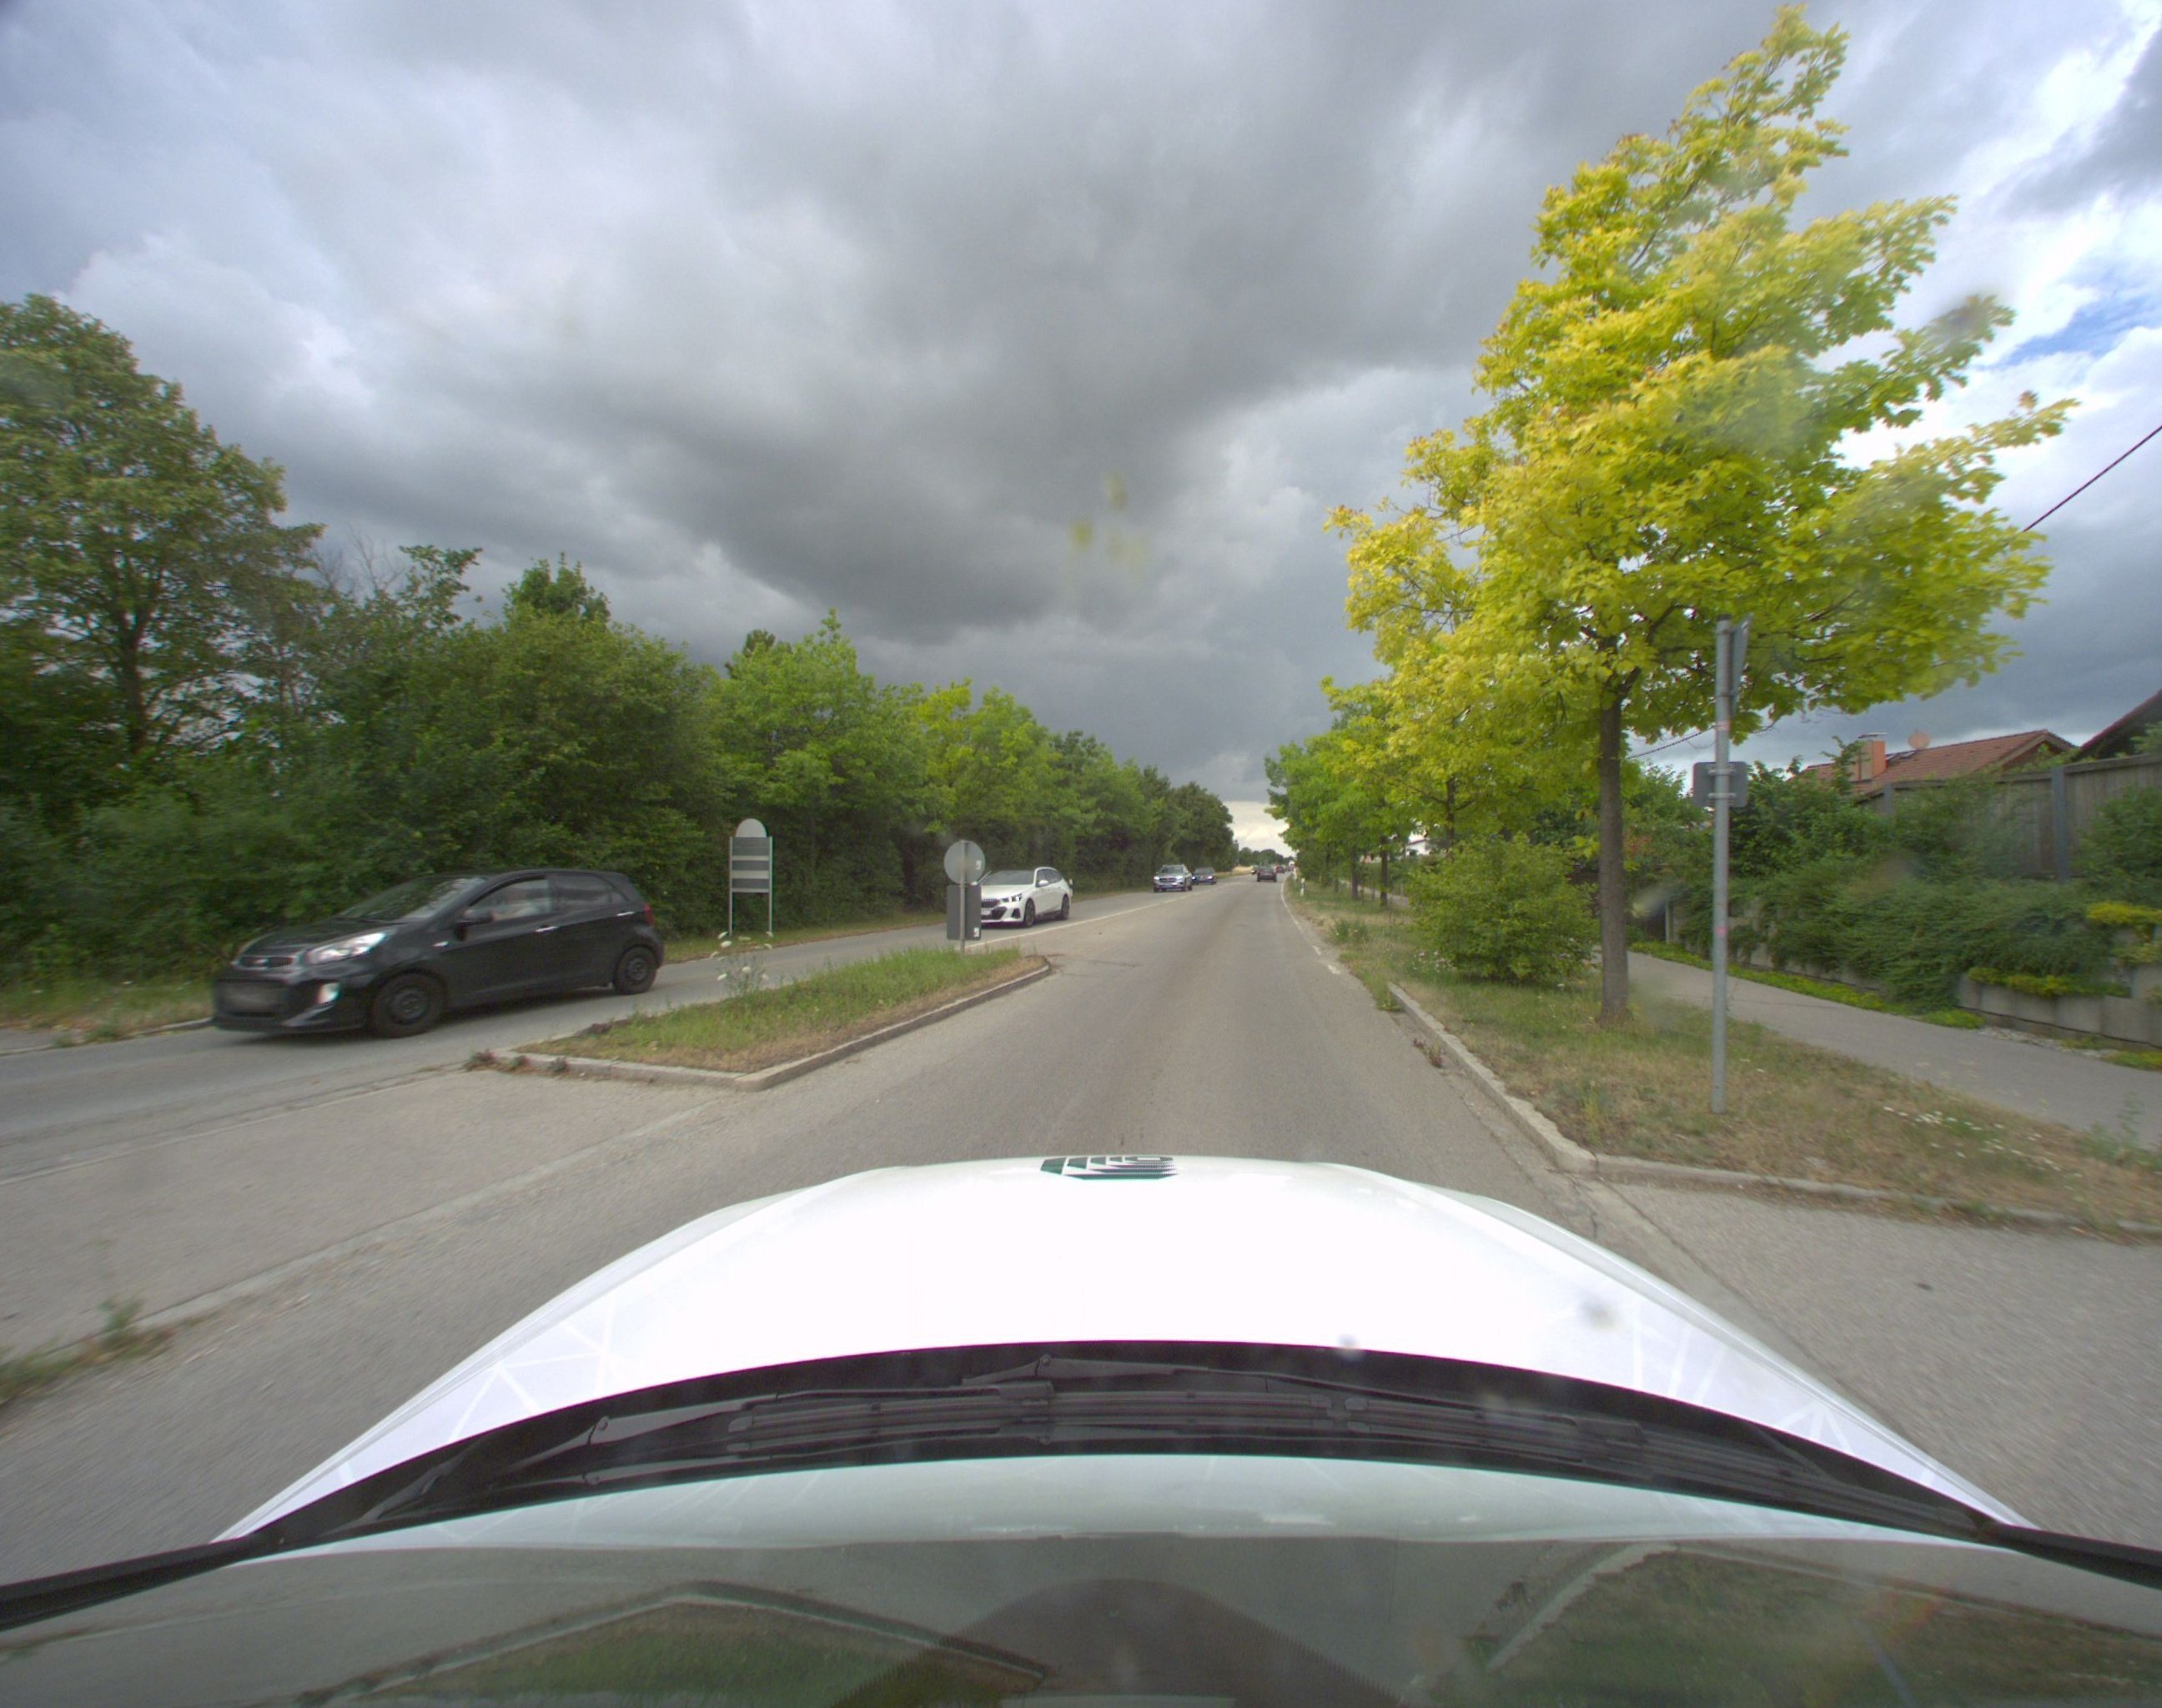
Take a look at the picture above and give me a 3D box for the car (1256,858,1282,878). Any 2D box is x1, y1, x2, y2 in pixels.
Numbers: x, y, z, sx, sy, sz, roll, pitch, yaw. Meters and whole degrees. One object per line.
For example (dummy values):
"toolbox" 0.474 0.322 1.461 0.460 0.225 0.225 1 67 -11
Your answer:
"car" 18.394 1.349 79.585 2.356 1.881 4.493 -1 -1 12

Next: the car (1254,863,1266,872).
"car" 32.164 2.466 146.386 1.927 1.586 4.571 -1 -1 12

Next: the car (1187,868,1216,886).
"car" 9.974 1.874 66.987 1.980 1.419 4.493 -1 -1 12

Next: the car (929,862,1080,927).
"car" -1.807 0.959 21.343 2.196 1.454 4.964 -1 0 17

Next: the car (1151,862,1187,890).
"car" 5.376 1.324 49.286 1.982 1.601 4.675 -1 -1 8

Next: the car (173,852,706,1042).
"car" -6.090 0.733 8.401 1.668 1.454 4.020 -1 -1 20
